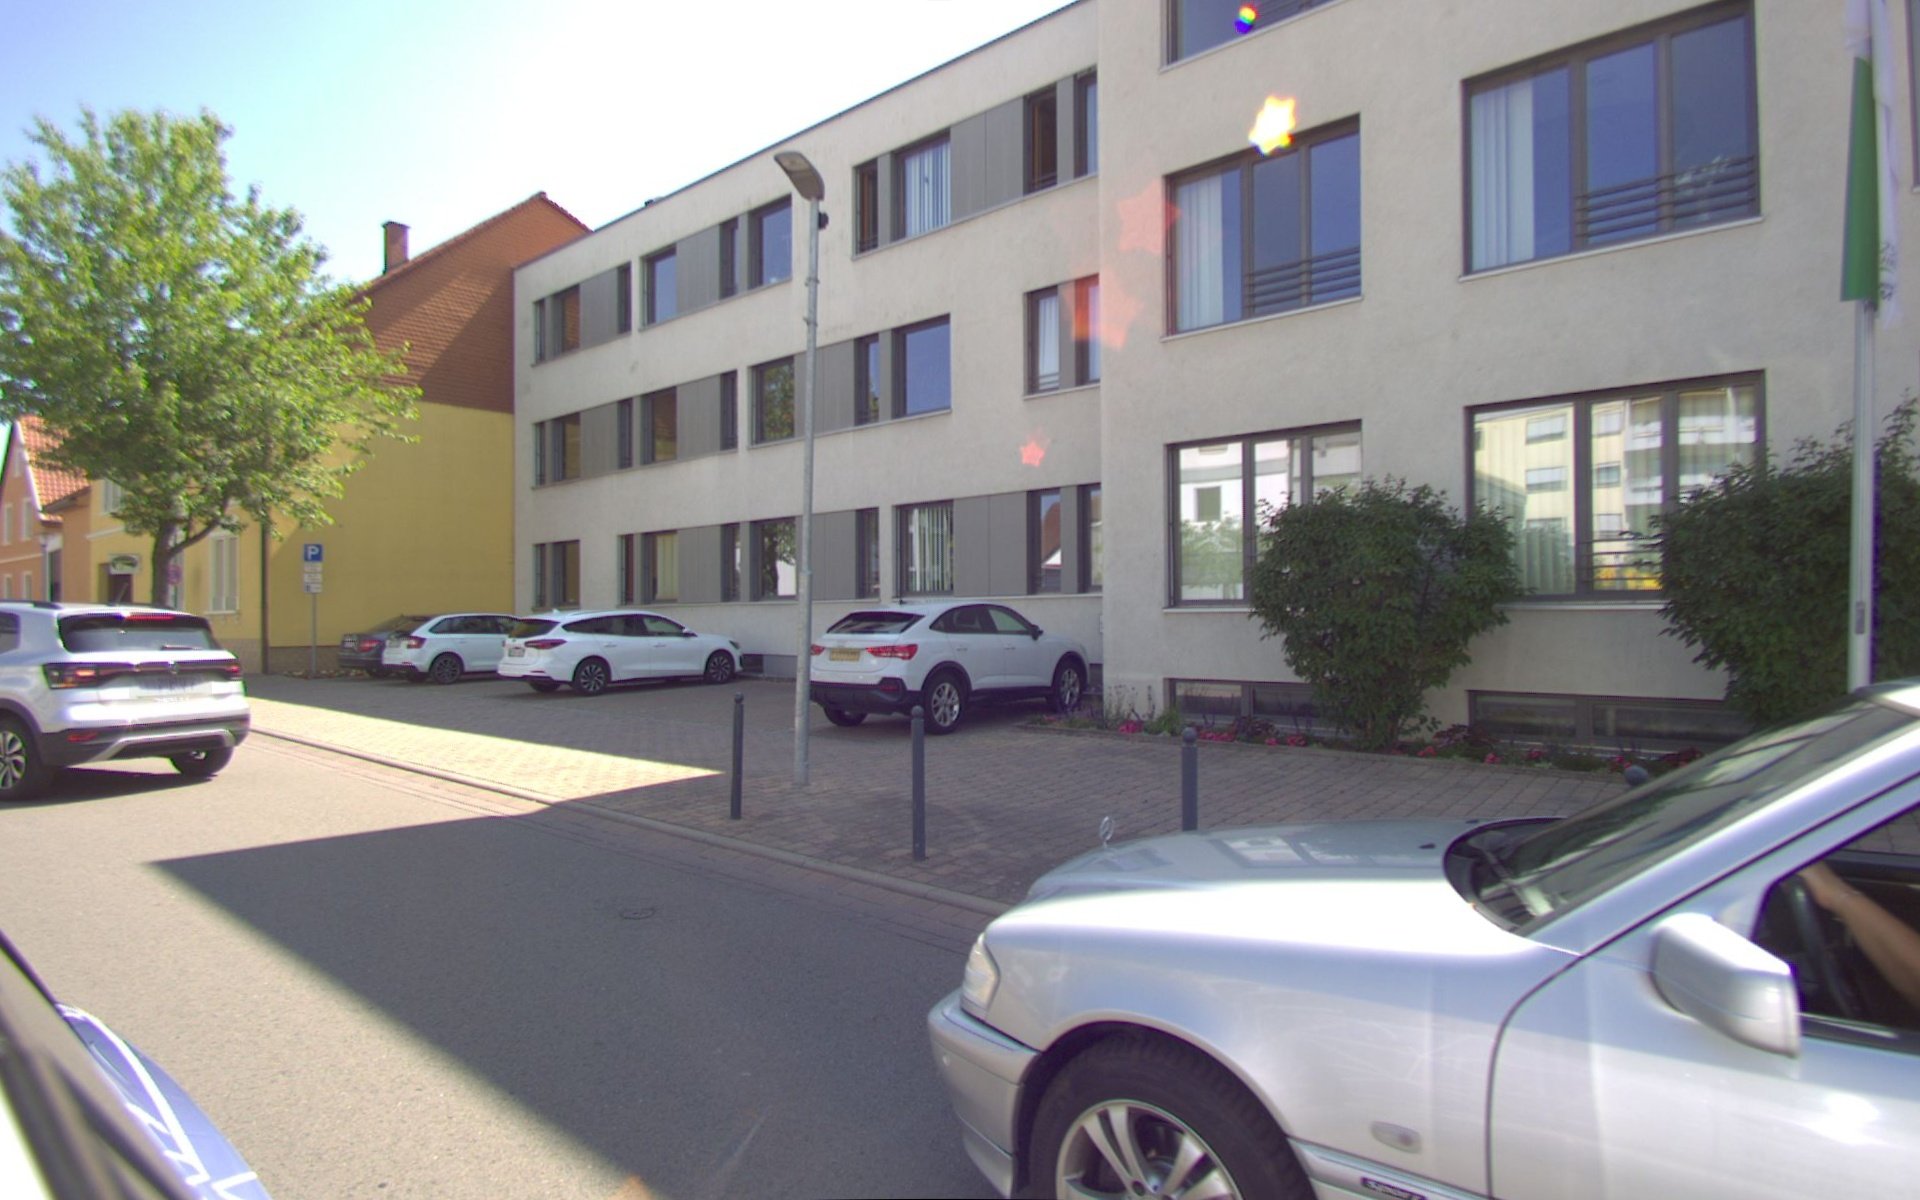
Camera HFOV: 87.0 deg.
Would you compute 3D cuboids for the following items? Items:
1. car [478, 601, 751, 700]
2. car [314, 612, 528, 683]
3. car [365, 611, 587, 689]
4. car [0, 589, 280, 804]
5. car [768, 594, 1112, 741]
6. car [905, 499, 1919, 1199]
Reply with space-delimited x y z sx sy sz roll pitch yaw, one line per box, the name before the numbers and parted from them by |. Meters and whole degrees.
car | -6.270 0.827 18.806 1.934 1.566 4.458 0 0 40
car | -12.418 1.043 23.516 1.969 1.442 3.951 -2 -1 36
car | -10.346 1.011 21.850 1.806 1.462 3.947 -2 -1 39
car | -8.399 0.771 8.962 3.966 1.585 1.847 -1 -3 17
car | -0.087 0.722 13.270 2.146 1.566 4.462 -1 0 39
car | 2.185 0.652 1.522 4.432 1.475 1.861 1 -1 40
